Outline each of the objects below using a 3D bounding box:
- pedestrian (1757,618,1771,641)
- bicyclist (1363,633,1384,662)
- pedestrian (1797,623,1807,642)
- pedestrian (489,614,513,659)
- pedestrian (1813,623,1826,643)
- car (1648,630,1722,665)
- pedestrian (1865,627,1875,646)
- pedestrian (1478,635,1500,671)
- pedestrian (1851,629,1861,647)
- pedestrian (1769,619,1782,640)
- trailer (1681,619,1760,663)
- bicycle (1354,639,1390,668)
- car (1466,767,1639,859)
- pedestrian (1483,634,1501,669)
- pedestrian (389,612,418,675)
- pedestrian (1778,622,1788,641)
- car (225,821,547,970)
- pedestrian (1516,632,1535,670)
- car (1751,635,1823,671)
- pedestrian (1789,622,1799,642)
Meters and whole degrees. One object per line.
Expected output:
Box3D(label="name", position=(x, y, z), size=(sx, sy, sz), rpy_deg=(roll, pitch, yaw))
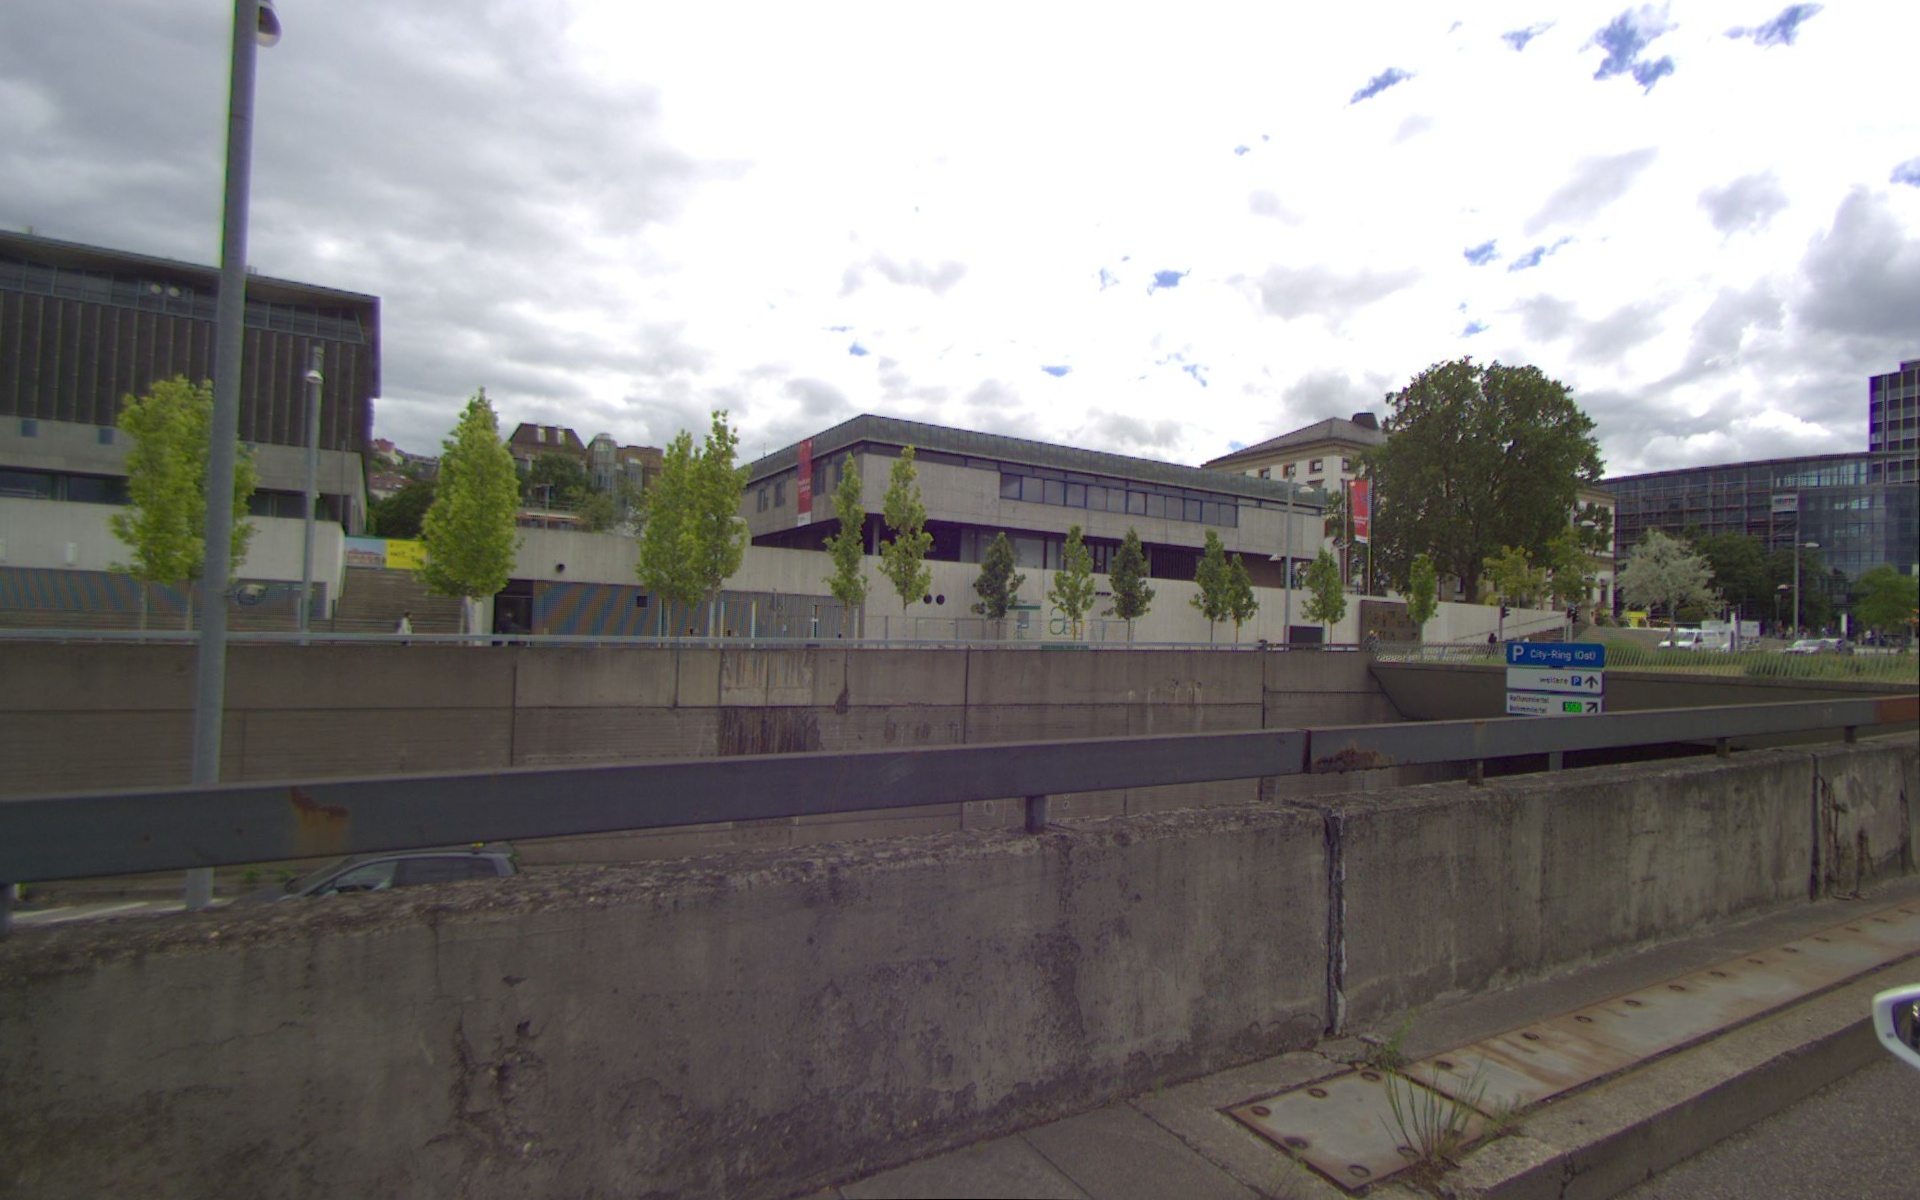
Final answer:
Box3D(label="pedestrian", position=(73.676, 2.682, 92.062), size=(0.783, 2.040, 0.735), rpy_deg=(4, -2, -28))
Box3D(label="bicyclist", position=(23.819, 2.736, 57.854), size=(0.767, 1.574, 0.727), rpy_deg=(3, 0, -31))
Box3D(label="pedestrian", position=(87.714, 3.378, 104.676), size=(0.729, 2.040, 1.078), rpy_deg=(-1, -1, 39))
Box3D(label="pedestrian", position=(-17.224, 1.342, 37.677), size=(0.783, 1.664, 0.736), rpy_deg=(0, -1, -27))
Box3D(label="pedestrian", position=(89.106, 3.454, 104.128), size=(0.727, 2.040, 0.792), rpy_deg=(0, -1, -8))
Box3D(label="car", position=(44.645, 2.886, 61.822), size=(4.635, 2.040, 1.985), rpy_deg=(0, 0, -30))
Box3D(label="pedestrian", position=(102.137, 4.091, 112.715), size=(0.731, 2.040, 0.788), rpy_deg=(-1, -1, 45))
Box3D(label="pedestrian", position=(30.381, 3.037, 57.717), size=(0.781, 2.040, 0.833), rpy_deg=(0, -1, -21))
Box3D(label="pedestrian", position=(103.927, 4.399, 116.504), size=(0.729, 2.040, 0.790), rpy_deg=(-1, -1, 38))
Box3D(label="pedestrian", position=(78.848, 2.862, 97.090), size=(0.783, 2.040, 0.735), rpy_deg=(0, -1, -29))
Box3D(label="trailer", position=(48.899, 2.608, 64.550), size=(5.443, 2.640, 2.028), rpy_deg=(1, 1, -30))
Box3D(label="bicycle", position=(23.729, 3.101, 57.805), size=(2.165, 1.556, 0.722), rpy_deg=(3, 0, -31))
Box3D(label="car", position=(20.697, 7.306, 35.038), size=(5.865, 2.341, 2.607), rpy_deg=(3, 0, -30))
Box3D(label="pedestrian", position=(30.826, 2.977, 58.236), size=(0.777, 2.040, 0.741), rpy_deg=(0, 0, 15))
Box3D(label="pedestrian", position=(-18.295, 1.424, 33.037), size=(0.782, 2.040, 0.736), rpy_deg=(0, -1, -24))
Box3D(label="pedestrian", position=(85.611, 3.268, 104.500), size=(0.729, 2.040, 0.917), rpy_deg=(-1, -1, 37))
Box3D(label="car", position=(-9.533, 4.845, 17.012), size=(4.345, 1.789, 2.153), rpy_deg=(6, -5, -30))
Box3D(label="pedestrian", position=(30.263, 2.720, 53.748), size=(0.847, 2.040, 0.628), rpy_deg=(-1, -1, 29))
Box3D(label="car", position=(51.412, 3.245, 62.426), size=(4.635, 2.040, 1.985), rpy_deg=(0, 0, -30))
Box3D(label="pedestrian", position=(86.020, 3.285, 103.566), size=(0.729, 2.040, 0.917), rpy_deg=(-1, -1, 37))
